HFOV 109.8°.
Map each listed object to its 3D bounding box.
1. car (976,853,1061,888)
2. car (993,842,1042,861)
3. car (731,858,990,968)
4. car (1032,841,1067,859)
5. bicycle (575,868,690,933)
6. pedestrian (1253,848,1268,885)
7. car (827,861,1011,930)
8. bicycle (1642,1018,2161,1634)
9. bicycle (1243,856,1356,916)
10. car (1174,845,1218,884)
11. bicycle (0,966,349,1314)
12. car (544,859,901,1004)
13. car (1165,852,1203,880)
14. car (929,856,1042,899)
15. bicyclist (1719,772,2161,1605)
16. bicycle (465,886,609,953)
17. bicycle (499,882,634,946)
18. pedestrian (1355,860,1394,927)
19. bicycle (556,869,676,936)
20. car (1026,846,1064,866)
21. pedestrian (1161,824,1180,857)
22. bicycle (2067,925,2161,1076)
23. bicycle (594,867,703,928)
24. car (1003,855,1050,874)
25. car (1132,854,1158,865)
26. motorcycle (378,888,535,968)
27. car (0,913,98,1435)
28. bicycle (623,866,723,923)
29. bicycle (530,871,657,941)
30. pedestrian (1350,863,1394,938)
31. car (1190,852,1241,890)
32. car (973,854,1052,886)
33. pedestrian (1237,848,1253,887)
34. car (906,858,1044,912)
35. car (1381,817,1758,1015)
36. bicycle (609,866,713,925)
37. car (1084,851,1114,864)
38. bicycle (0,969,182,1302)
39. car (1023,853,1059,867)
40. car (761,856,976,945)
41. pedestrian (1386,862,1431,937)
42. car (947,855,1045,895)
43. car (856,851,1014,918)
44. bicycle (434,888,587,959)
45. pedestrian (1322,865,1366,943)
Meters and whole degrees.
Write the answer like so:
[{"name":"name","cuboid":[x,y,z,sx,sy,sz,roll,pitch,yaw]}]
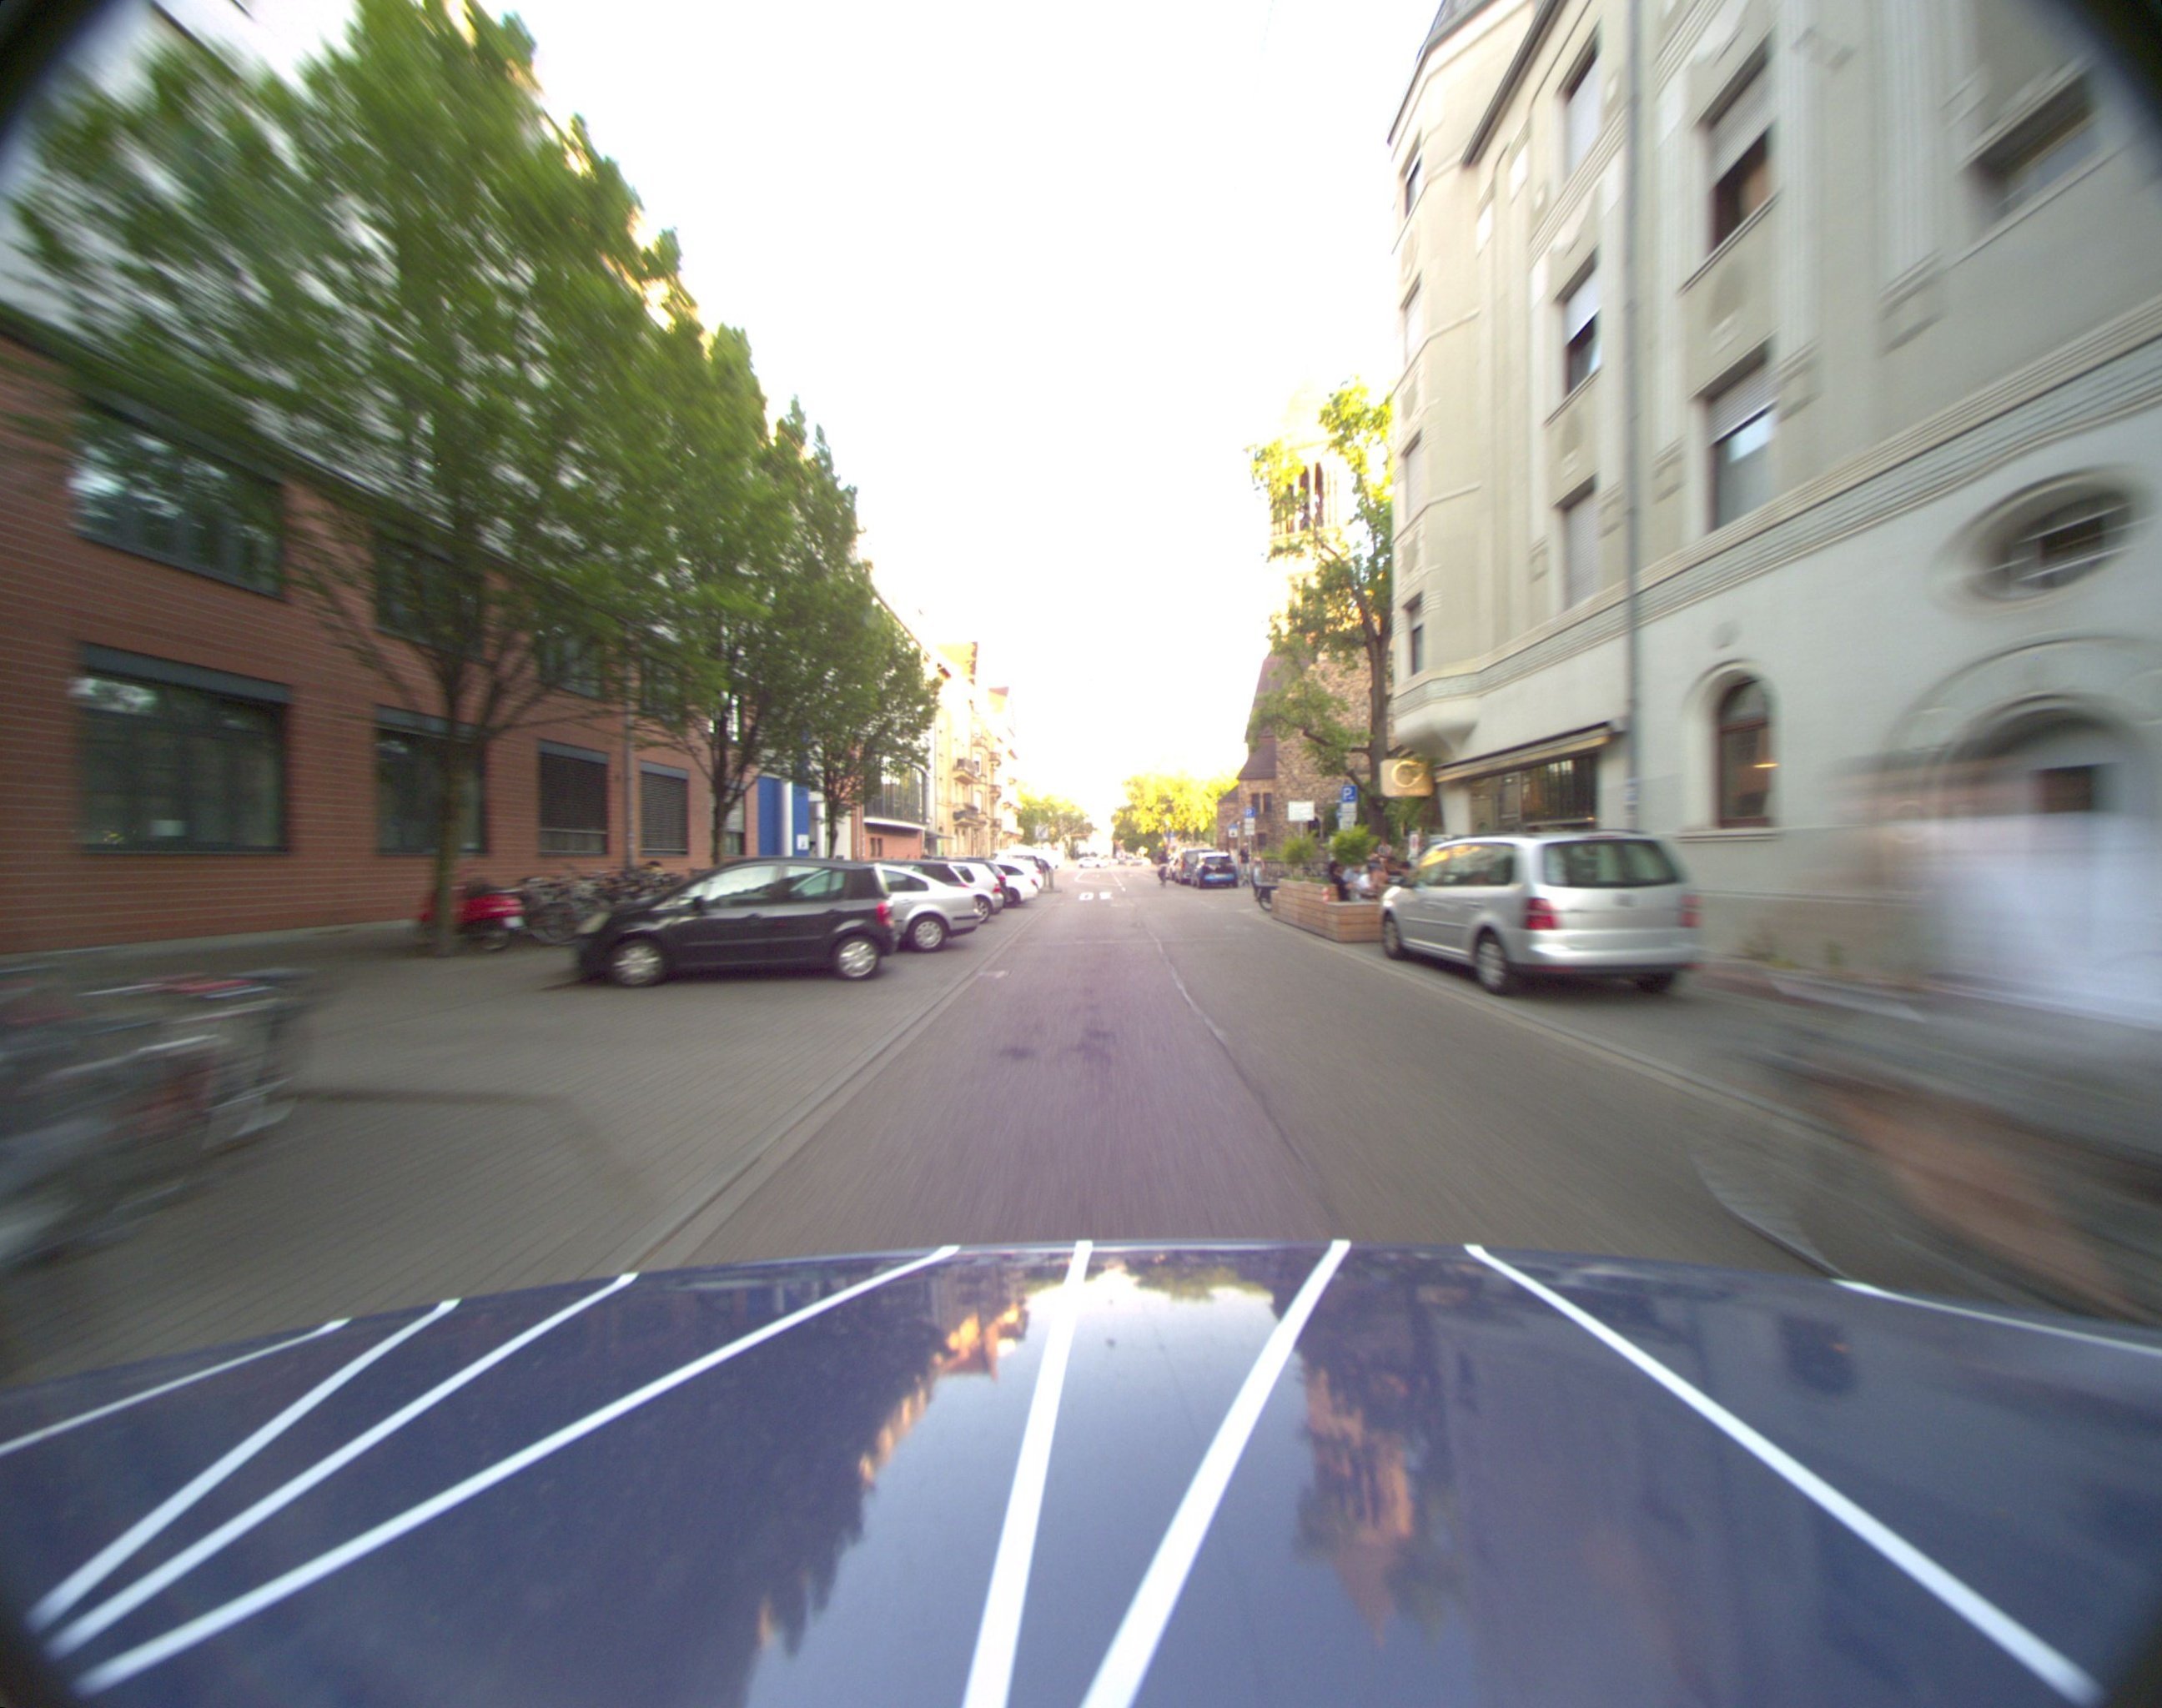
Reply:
[{"name":"car","cuboid":[-3.019,0.777,36.412,3.837,1.510,1.675,2,1,-14]},{"name":"car","cuboid":[-5.437,-0.224,65.024,3.840,1.510,1.674,1,1,-27]},{"name":"car","cuboid":[-3.638,0.898,12.620,3.841,1.556,1.674,1,1,-28]},{"name":"car","cuboid":[-4.098,-0.534,99.671,4.201,2.246,1.673,1,1,-33]},{"name":"bicycle","cuboid":[-8.486,0.874,14.406,1.769,1.094,0.546,3,1,-5]},{"name":"pedestrian","cuboid":[8.069,0.558,34.213,0.508,1.596,0.562,-2,1,1]},{"name":"car","cuboid":[-3.747,0.926,17.677,3.841,1.422,1.674,1,1,-28]},{"name":"bicycle","cuboid":[2.482,1.142,2.089,0.477,0.938,1.896,-2,1,1]},{"name":"bicycle","cuboid":[5.416,0.806,18.918,2.619,1.390,0.602,-2,1,14]},{"name":"car","cuboid":[5.874,0.498,39.389,1.785,1.860,4.458,-2,1,3]},{"name":"bicycle","cuboid":[-4.122,1.180,3.577,0.577,1.058,1.382,-3,2,-28]},{"name":"car","cuboid":[-4.411,0.916,9.855,3.839,1.556,1.675,1,1,-20]},{"name":"car","cuboid":[6.283,0.727,46.716,1.786,1.537,4.000,-2,1,1]},{"name":"car","cuboid":[-3.593,0.884,28.590,3.840,1.510,1.674,1,1,-27]},{"name":"bicyclist","cuboid":[2.443,0.663,2.020,0.624,1.682,1.003,-2,1,1]},{"name":"bicycle","cuboid":[-8.502,1.018,11.911,1.769,0.920,0.546,3,1,-5]},{"name":"bicycle","cuboid":[-8.452,0.986,12.530,1.769,0.920,0.546,3,1,-5]},{"name":"pedestrian","cuboid":[5.981,0.794,15.489,0.571,1.315,0.496,-2,1,1]},{"name":"bicycle","cuboid":[-8.426,0.878,13.813,1.769,1.094,0.546,3,1,-5]},{"name":"car","cuboid":[-4.302,0.274,91.240,4.202,2.280,1.673,1,1,-37]},{"name":"pedestrian","cuboid":[7.640,-1.143,64.715,1.445,2.725,1.012,-2,1,1]},{"name":"bicycle","cuboid":[7.407,1.002,4.580,0.477,0.938,1.896,-2,1,1]},{"name":"bicycle","cuboid":[-8.540,0.862,15.050,1.769,1.094,0.546,3,1,-5]},{"name":"car","cuboid":[-4.881,0.938,67.924,3.840,1.510,1.674,1,1,-27]},{"name":"car","cuboid":[10.806,0.969,127.950,4.072,1.688,1.681,2,1,23]},{"name":"motorcycle","cuboid":[-8.563,0.988,10.419,1.984,0.920,0.591,3,1,15]},{"name":"car","cuboid":[-4.608,0.921,0.931,3.807,1.508,1.646,1,0,-31]},{"name":"bicycle","cuboid":[-8.693,0.853,16.223,1.769,1.094,0.546,3,1,-5]},{"name":"bicycle","cuboid":[-8.446,0.892,13.210,1.769,1.094,0.546,3,1,-5]},{"name":"pedestrian","cuboid":[5.306,0.838,13.869,0.571,1.315,0.496,-2,1,1]},{"name":"car","cuboid":[6.032,0.709,34.405,1.785,1.537,4.000,-2,1,3]},{"name":"car","cuboid":[-3.567,0.811,39.406,3.837,1.510,1.675,2,1,-14]},{"name":"pedestrian","cuboid":[7.374,0.586,34.124,0.566,1.723,0.562,-2,1,1]},{"name":"car","cuboid":[-3.241,0.928,23.459,3.841,1.510,1.673,1,1,-31]},{"name":"car","cuboid":[4.965,0.536,8.483,1.730,1.638,3.917,-2,0,2]},{"name":"bicycle","cuboid":[-8.621,0.856,15.639,1.769,1.094,0.546,3,1,-5]},{"name":"car","cuboid":[2.547,0.432,108.096,4.075,1.688,1.679,2,1,11]},{"name":"bicycle","cuboid":[-4.697,1.176,3.252,0.577,1.120,1.382,-3,2,-28]},{"name":"car","cuboid":[-4.642,0.704,88.126,3.842,1.510,1.673,1,1,-33]},{"name":"car","cuboid":[-4.239,0.872,15.227,3.841,1.556,1.674,1,1,-28]},{"name":"pedestrian","cuboid":[5.970,0.813,13.873,0.571,1.315,0.496,-2,1,1]},{"name":"car","cuboid":[-3.537,0.851,31.417,3.837,1.510,1.675,2,1,-14]},{"name":"car","cuboid":[-3.928,0.805,20.454,3.840,1.639,1.674,1,1,-26]},{"name":"bicycle","cuboid":[-8.462,1.023,11.320,1.769,0.920,0.546,3,1,-5]},{"name":"pedestrian","cuboid":[4.615,0.870,13.368,0.571,1.315,0.496,-2,1,1]}]
